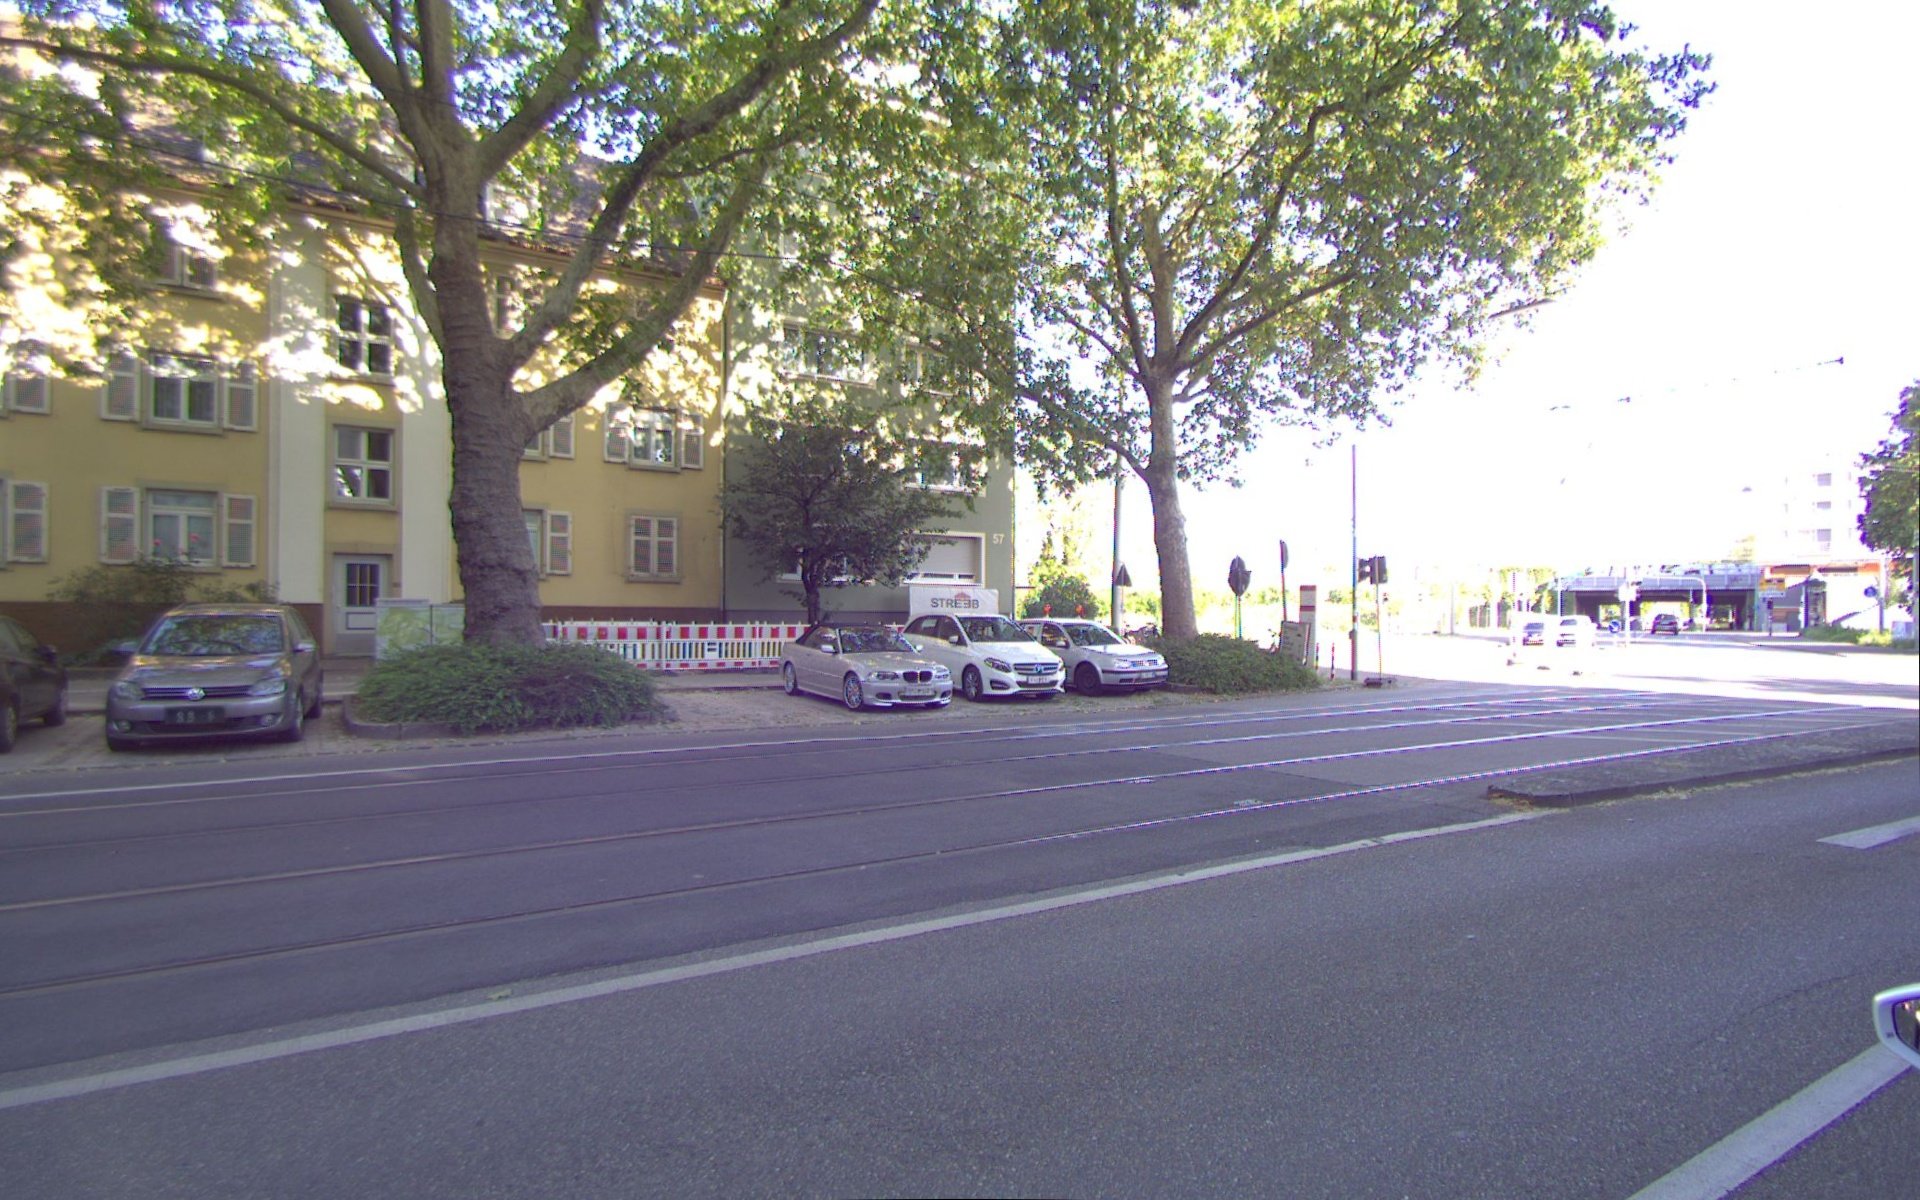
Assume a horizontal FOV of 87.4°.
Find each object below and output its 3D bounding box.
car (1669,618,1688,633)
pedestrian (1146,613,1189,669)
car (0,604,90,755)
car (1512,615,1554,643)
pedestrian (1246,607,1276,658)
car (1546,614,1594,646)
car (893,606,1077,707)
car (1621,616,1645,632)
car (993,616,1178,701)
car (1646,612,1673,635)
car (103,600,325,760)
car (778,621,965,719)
[{"bbox_3d":[83.517,2.973,116.684,1.731,1.706,3.729,2,0,36],"label":"car"},{"bbox_3d":[6.327,1.238,30.593,0.919,1.669,0.841,2,0,-30],"label":"pedestrian"},{"bbox_3d":[-11.456,0.833,11.394,1.652,1.518,3.778,1,0,-29],"label":"car"},{"bbox_3d":[35.562,1.759,62.276,1.774,1.684,4.341,0,-1,36],"label":"car"},{"bbox_3d":[10.338,1.099,34.484,0.760,1.683,0.954,2,0,27],"label":"pedestrian"},{"bbox_3d":[33.596,1.629,55.272,1.860,1.606,3.823,2,0,37],"label":"car"},{"bbox_3d":[0.359,0.983,19.164,1.651,1.669,3.949,1,0,-31],"label":"car"},{"bbox_3d":[69.825,2.500,104.248,1.860,1.606,3.823,2,0,37],"label":"car"},{"bbox_3d":[2.450,1.110,20.539,1.651,1.473,3.949,1,0,-31],"label":"car"},{"bbox_3d":[61.213,2.036,87.843,1.883,1.906,4.830,0,-1,35],"label":"car"},{"bbox_3d":[-8.990,0.832,12.426,1.652,1.602,3.953,1,0,-29],"label":"car"},{"bbox_3d":[-1.640,1.109,17.319,1.651,1.370,3.949,1,0,-31],"label":"car"}]
